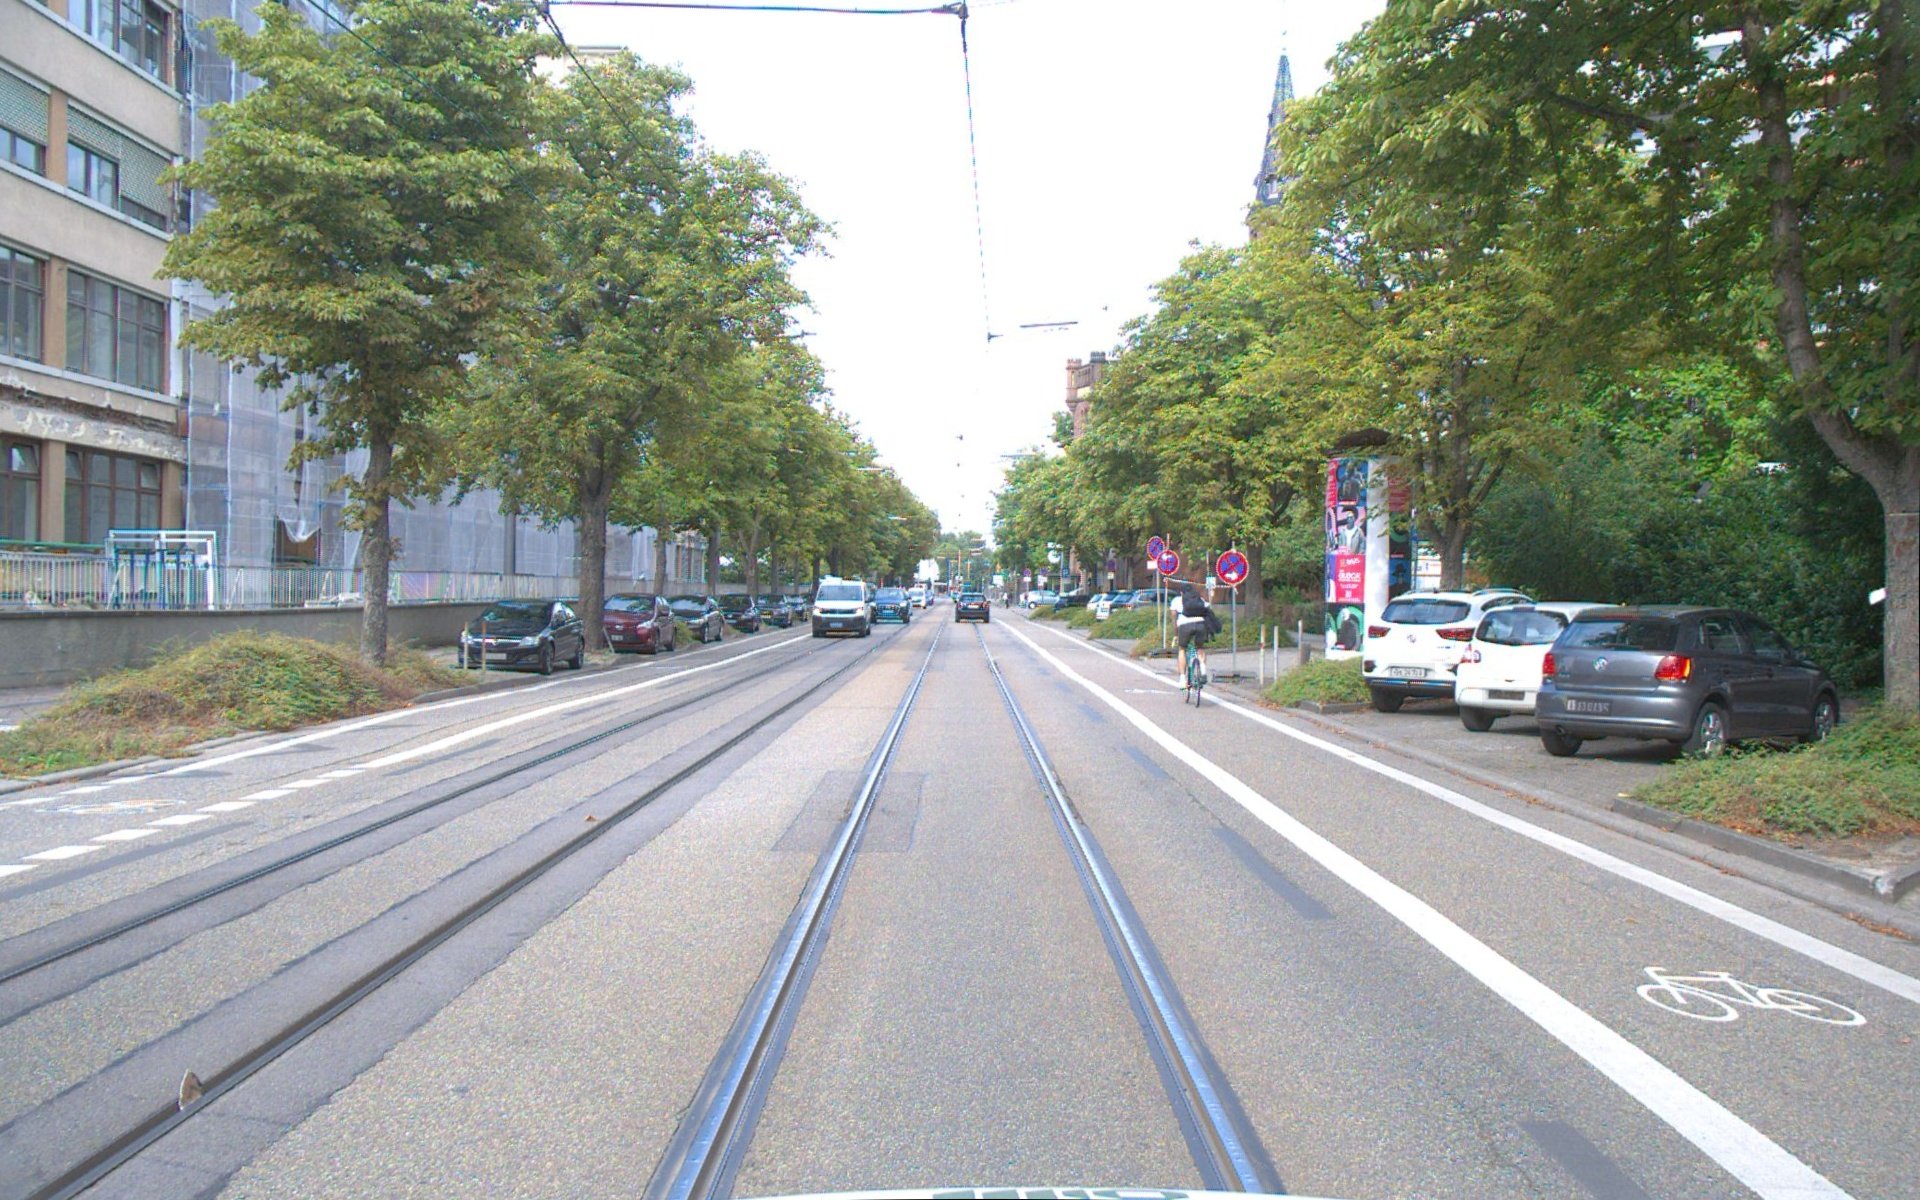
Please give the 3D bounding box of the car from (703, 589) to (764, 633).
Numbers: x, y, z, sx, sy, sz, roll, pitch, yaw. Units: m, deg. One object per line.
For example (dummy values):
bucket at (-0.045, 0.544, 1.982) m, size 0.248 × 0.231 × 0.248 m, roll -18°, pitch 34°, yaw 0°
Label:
car at (-8.498, 0.400, 62.352) m, size 1.766 × 1.611 × 4.030 m, roll 0°, pitch 0°, yaw -1°

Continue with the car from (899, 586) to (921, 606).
car at (-4.258, -0.369, 141.625) m, size 1.766 × 1.650 × 4.484 m, roll 0°, pitch 0°, yaw -1°

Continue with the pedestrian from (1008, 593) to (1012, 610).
pedestrian at (6.114, 0.205, 202.724) m, size 0.507 × 2.049 × 0.480 m, roll 1°, pitch 0°, yaw 3°

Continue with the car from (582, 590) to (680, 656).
car at (-8.432, 0.564, 42.748) m, size 1.766 × 1.611 × 4.030 m, roll 0°, pitch 0°, yaw -1°

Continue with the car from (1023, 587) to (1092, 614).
car at (5.831, 0.013, 99.072) m, size 3.907 × 1.534 × 1.884 m, roll 1°, pitch 0°, yaw -3°

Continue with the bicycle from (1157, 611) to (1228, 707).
bicycle at (3.316, 0.819, 23.780) m, size 0.644 × 1.270 × 2.124 m, roll 1°, pitch 0°, yaw -1°

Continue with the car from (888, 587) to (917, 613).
car at (-3.681, -0.021, 106.181) m, size 1.766 × 1.650 × 4.484 m, roll 0°, pitch 0°, yaw -1°

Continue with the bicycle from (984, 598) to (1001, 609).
bicycle at (3.278, 0.377, 167.231) m, size 1.684 × 1.009 × 0.659 m, roll 2°, pitch 0°, yaw 8°

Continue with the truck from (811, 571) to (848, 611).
truck at (-8.351, -0.561, 106.012) m, size 2.029 × 2.513 × 4.898 m, roll 0°, pitch 0°, yaw -1°

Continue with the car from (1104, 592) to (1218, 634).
car at (7.396, 0.475, 61.145) m, size 3.907 × 1.449 × 1.884 m, roll 1°, pitch 0°, yaw -3°

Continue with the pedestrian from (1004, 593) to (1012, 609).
pedestrian at (4.852, 0.094, 167.150) m, size 0.711 × 1.674 × 0.767 m, roll 2°, pitch 0°, yaw 10°

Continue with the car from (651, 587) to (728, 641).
car at (-8.396, 0.401, 51.619) m, size 1.766 × 1.611 × 4.030 m, roll 0°, pitch 0°, yaw -1°

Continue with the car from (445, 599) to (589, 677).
car at (-8.584, 0.691, 32.354) m, size 1.766 × 1.398 × 4.030 m, roll 0°, pitch 0°, yaw -1°

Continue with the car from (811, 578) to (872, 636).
car at (-3.933, 0.209, 55.519) m, size 1.766 × 1.855 × 4.484 m, roll 0°, pitch 0°, yaw -1°

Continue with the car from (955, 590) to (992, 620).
car at (0.656, 0.236, 83.315) m, size 1.757 × 1.448 × 3.999 m, roll 1°, pitch 0°, yaw -1°

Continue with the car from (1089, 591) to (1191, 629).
car at (7.392, 0.407, 68.047) m, size 3.907 × 1.449 × 1.884 m, roll 1°, pitch 0°, yaw -3°

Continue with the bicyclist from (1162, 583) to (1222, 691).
bicyclist at (3.330, 0.516, 23.810) m, size 0.644 × 1.489 × 1.178 m, roll 1°, pitch 0°, yaw -1°

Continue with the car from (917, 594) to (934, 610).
car at (-3.753, 0.186, 181.106) m, size 1.766 × 1.650 × 4.484 m, roll 0°, pitch 0°, yaw -1°

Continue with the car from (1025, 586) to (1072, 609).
car at (7.752, -0.221, 145.268) m, size 3.907 × 1.944 × 1.999 m, roll 2°, pitch 0°, yaw -3°

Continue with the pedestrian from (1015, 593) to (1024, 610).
pedestrian at (5.945, 0.141, 165.416) m, size 0.711 × 1.674 × 0.767 m, roll 2°, pitch 0°, yaw 10°

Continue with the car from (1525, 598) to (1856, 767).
car at (7.282, 0.742, 16.382) m, size 3.501 × 1.468 × 1.601 m, roll 1°, pitch 0°, yaw -39°

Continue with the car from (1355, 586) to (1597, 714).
car at (7.068, 0.641, 22.531) m, size 3.414 × 1.600 × 1.538 m, roll 1°, pitch 0°, yaw -39°

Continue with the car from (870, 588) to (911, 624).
car at (-3.246, 0.259, 78.099) m, size 1.766 × 1.650 × 4.484 m, roll 0°, pitch 0°, yaw -1°

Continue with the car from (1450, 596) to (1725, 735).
car at (7.418, 0.713, 19.434) m, size 3.414 × 1.468 × 1.538 m, roll 1°, pitch 0°, yaw -39°

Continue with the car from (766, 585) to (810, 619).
car at (-8.435, 0.101, 81.351) m, size 1.766 × 1.611 × 4.030 m, roll 0°, pitch 0°, yaw -1°

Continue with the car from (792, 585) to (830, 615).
car at (-8.351, -0.007, 92.954) m, size 1.766 × 1.611 × 4.030 m, roll 0°, pitch 0°, yaw -1°

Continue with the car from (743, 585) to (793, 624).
car at (-8.391, 0.182, 72.588) m, size 1.766 × 1.611 × 4.030 m, roll 0°, pitch 0°, yaw -1°

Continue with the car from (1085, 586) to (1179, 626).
car at (7.613, 0.256, 73.452) m, size 3.907 × 1.656 × 1.884 m, roll 1°, pitch 0°, yaw -3°
